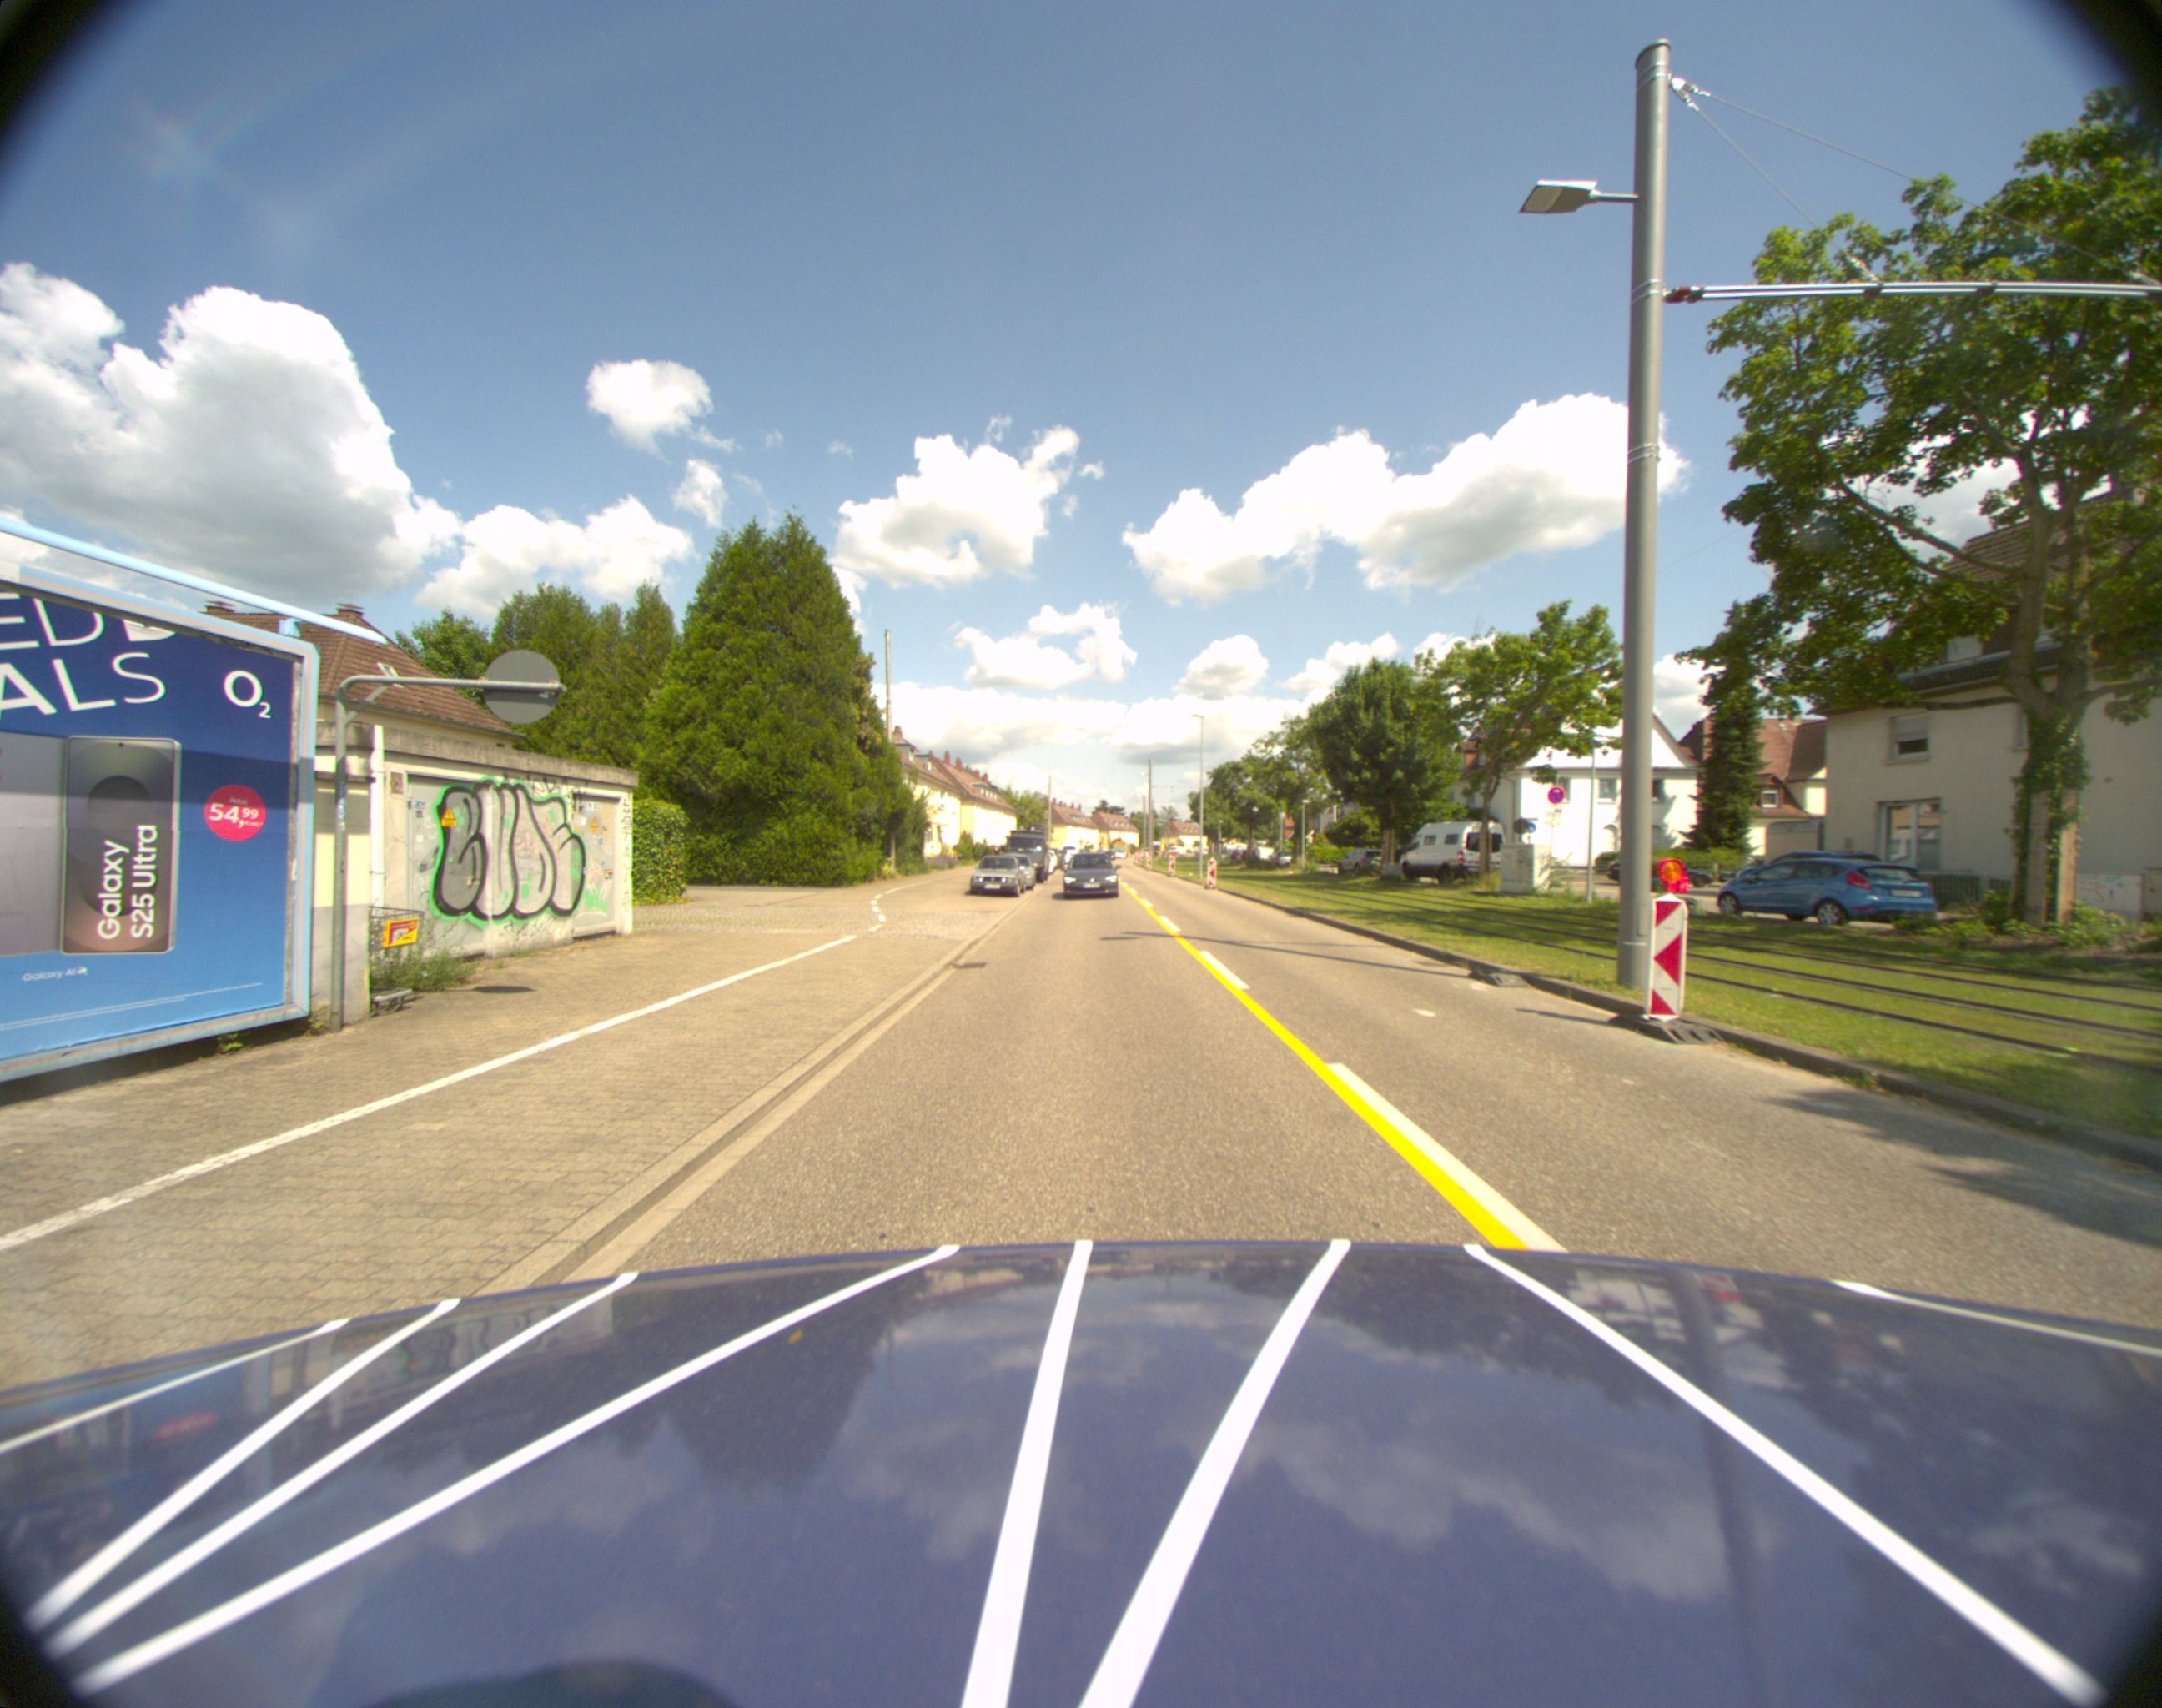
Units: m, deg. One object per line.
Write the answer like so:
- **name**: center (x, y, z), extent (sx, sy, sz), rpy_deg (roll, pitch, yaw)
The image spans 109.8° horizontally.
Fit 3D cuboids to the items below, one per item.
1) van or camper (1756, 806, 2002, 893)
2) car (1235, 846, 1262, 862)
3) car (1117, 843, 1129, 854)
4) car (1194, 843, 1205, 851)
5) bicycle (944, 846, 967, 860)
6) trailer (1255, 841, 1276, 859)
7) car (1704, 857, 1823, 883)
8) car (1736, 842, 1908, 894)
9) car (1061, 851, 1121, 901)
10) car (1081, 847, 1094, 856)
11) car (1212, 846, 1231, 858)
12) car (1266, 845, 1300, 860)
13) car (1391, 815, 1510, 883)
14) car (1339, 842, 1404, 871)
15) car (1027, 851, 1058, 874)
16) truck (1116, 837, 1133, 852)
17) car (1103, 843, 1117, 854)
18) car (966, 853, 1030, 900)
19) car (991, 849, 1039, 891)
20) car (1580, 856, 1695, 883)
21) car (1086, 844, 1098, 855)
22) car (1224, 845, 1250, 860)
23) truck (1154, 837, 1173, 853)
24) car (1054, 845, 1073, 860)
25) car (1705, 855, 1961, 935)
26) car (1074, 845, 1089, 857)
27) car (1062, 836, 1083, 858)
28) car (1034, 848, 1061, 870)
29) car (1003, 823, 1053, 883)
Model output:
- **van or camper**: center (30.957, -0.190, 29.678), extent (6.744, 3.203, 2.634), rpy_deg (0, 1, 0)
- **car**: center (17.209, 0.020, 78.271), extent (1.910, 1.569, 4.101), rpy_deg (4, 0, 2)
- **car**: center (7.407, -0.957, 133.310), extent (1.998, 1.791, 4.001), rpy_deg (0, 1, 5)
- **car**: center (31.958, -1.915, 204.670), extent (1.838, 2.043, 3.875), rpy_deg (2, 1, 25)
- **bicycle**: center (-9.670, -0.095, 58.412), extent (1.693, 1.096, 0.290), rpy_deg (0, 1, 0)
- **trailer**: center (16.488, -0.381, 68.088), extent (1.302, 1.510, 2.281), rpy_deg (1, 1, 0)
- **car**: center (33.245, 0.745, 37.095), extent (3.997, 1.128, 1.999), rpy_deg (1, 2, 1)
- **car**: center (24.798, 0.399, 25.660), extent (1.907, 1.568, 3.999), rpy_deg (1, 1, 1)
- **car**: center (0.283, 0.683, 25.731), extent (1.786, 1.412, 4.289), rpy_deg (-3, 1, -1)
- **car**: center (1.003, -0.419, 109.966), extent (1.513, 1.241, 3.408), rpy_deg (1, 1, 6)
- **car**: center (18.890, -0.284, 102.133), extent (1.998, 1.531, 4.322), rpy_deg (1, 1, 3)
- **car**: center (16.581, -0.131, 62.587), extent (1.785, 1.087, 3.835), rpy_deg (1, 1, 0)
- **car**: center (16.206, -0.231, 33.847), extent (1.999, 2.715, 6.461), rpy_deg (1, 1, -1)
- **car**: center (16.362, 0.095, 43.090), extent (1.998, 1.497, 4.485), rpy_deg (1, 1, 1)
- **car**: center (-2.396, 0.493, 48.101), extent (1.725, 1.288, 4.128), rpy_deg (1, 1, 0)
- **truck**: center (9.016, -2.032, 156.495), extent (2.530, 2.931, 7.866), rpy_deg (1, 1, 11)
- **car**: center (4.242, -0.758, 111.446), extent (1.998, 1.566, 4.000), rpy_deg (0, 1, 2)
- **car**: center (-2.805, 0.718, 26.482), extent (1.655, 1.423, 4.096), rpy_deg (1, 1, 2)
- **car**: center (-2.649, 0.611, 31.405), extent (1.696, 1.507, 4.354), rpy_deg (1, 1, -2)
- **car**: center (26.850, 0.742, 36.768), extent (3.997, 1.155, 2.045), rpy_deg (1, 2, 0)
- **car**: center (1.660, -0.716, 116.259), extent (1.513, 1.490, 3.408), rpy_deg (1, 1, 6)
- **car**: center (17.102, -0.219, 83.425), extent (1.998, 1.531, 4.321), rpy_deg (1, 1, 1)
- **truck**: center (18.013, -1.870, 165.891), extent (2.699, 3.346, 8.059), rpy_deg (1, 1, 15)
- **car**: center (-1.748, -0.162, 78.077), extent (1.756, 1.480, 4.627), rpy_deg (1, 1, 1)
- **car**: center (16.015, 0.790, 16.518), extent (1.758, 1.427, 3.889), rpy_deg (1, 1, 3)
- **car**: center (0.076, -0.432, 100.835), extent (1.513, 1.490, 3.408), rpy_deg (1, 1, 6)
- **car**: center (-1.019, -0.856, 91.765), extent (1.923, 2.523, 5.345), rpy_deg (1, 1, 5)
- **car**: center (-2.396, 0.321, 54.674), extent (1.654, 1.410, 4.025), rpy_deg (1, 1, 1)
- **car**: center (-2.527, -0.080, 37.292), extent (2.001, 2.745, 4.878), rpy_deg (1, 1, 1)
